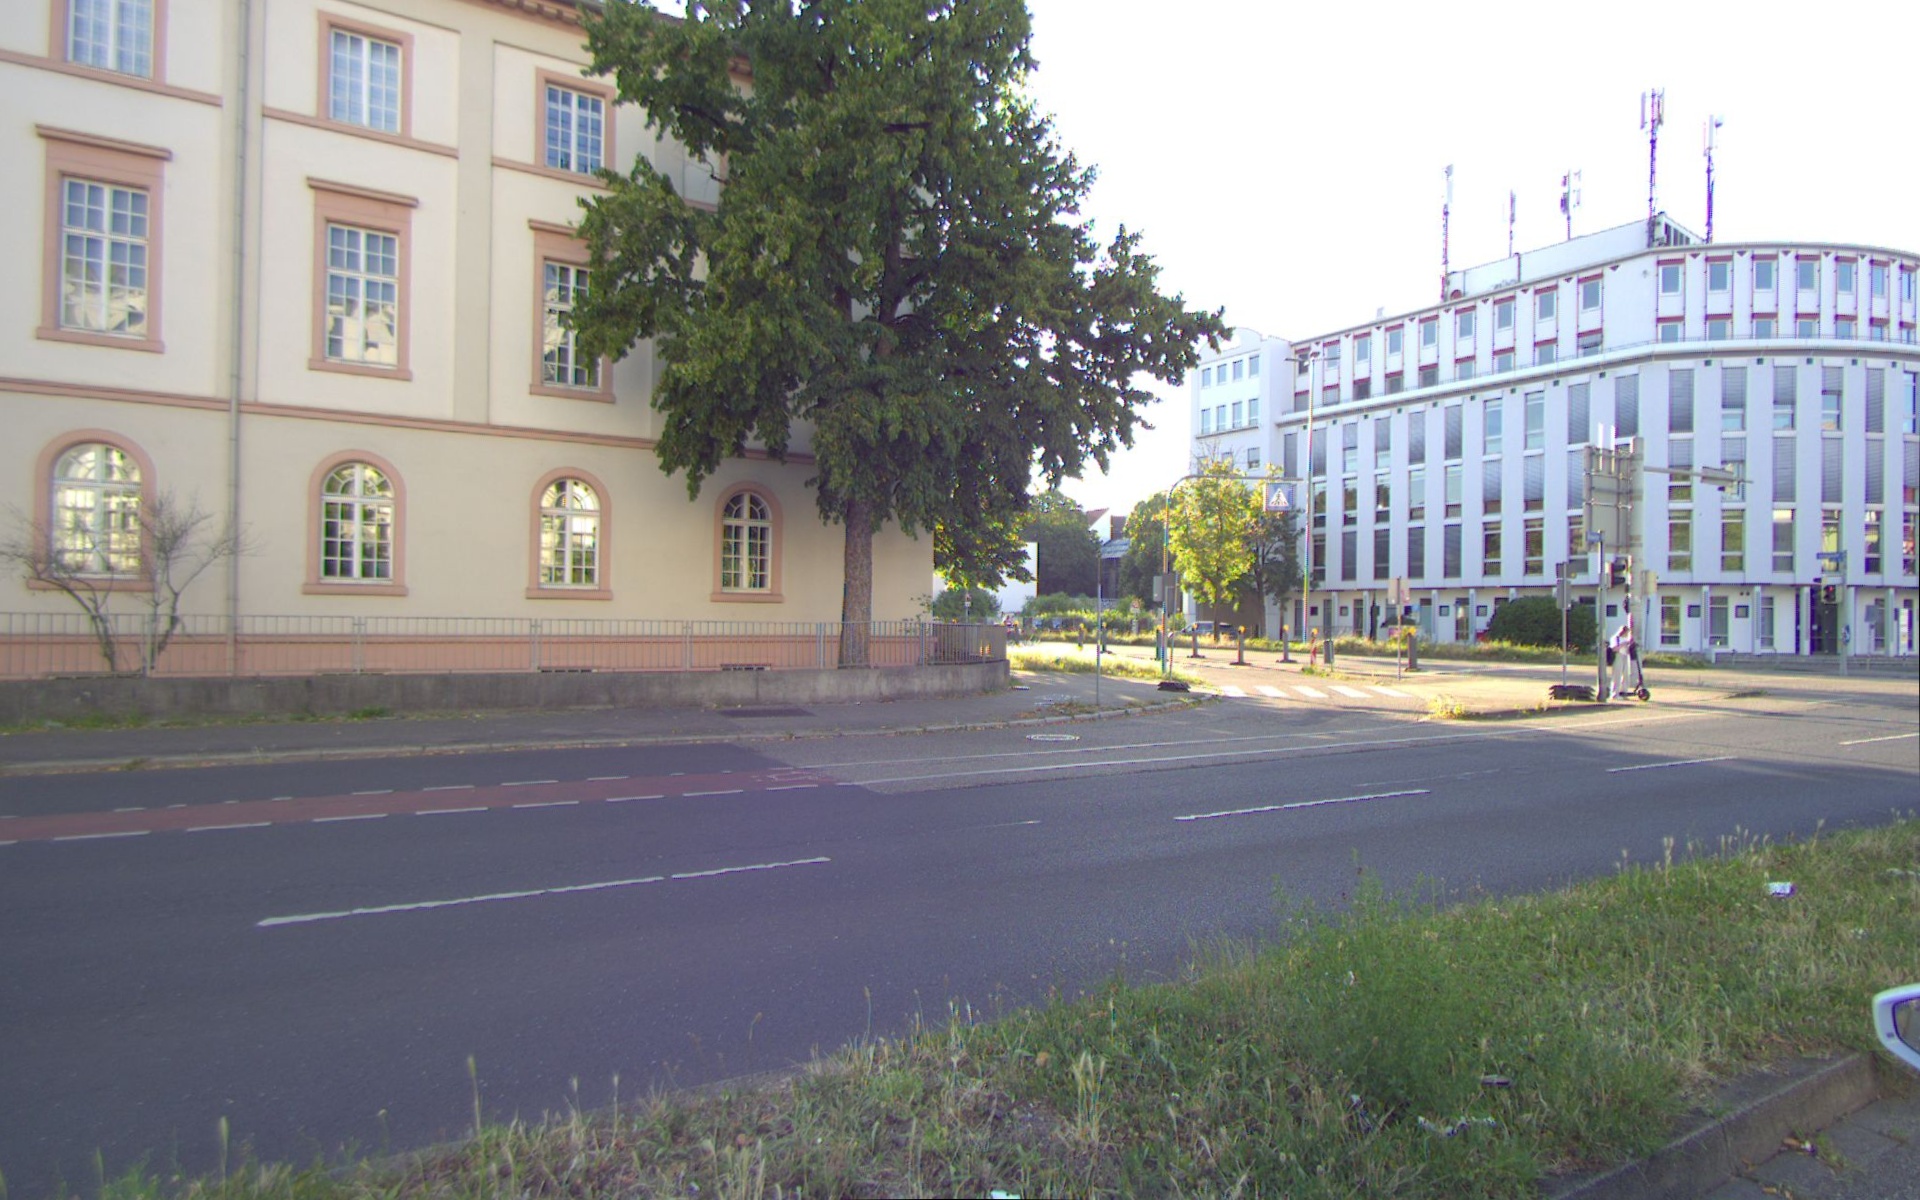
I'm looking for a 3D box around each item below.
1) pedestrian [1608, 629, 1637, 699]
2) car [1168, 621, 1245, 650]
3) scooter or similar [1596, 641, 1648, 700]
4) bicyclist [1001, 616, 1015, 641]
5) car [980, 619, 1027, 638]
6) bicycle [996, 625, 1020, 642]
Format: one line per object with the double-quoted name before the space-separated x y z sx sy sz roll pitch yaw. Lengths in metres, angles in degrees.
"pedestrian" 14.721 1.405 22.317 0.332 1.525 0.470 1 -1 -41
"car" 14.343 2.044 58.652 1.770 1.570 4.310 1 -1 -35
"scooter or similar" 14.601 1.542 22.161 0.368 1.250 0.885 1 -1 -40
"bicyclist" 2.972 1.766 62.436 0.453 1.516 0.879 1 -1 -36
"car" 3.425 2.237 79.752 1.770 1.439 3.961 1 -1 -35
"bicycle" 2.989 2.089 62.429 0.498 1.056 1.786 1 -1 -35
